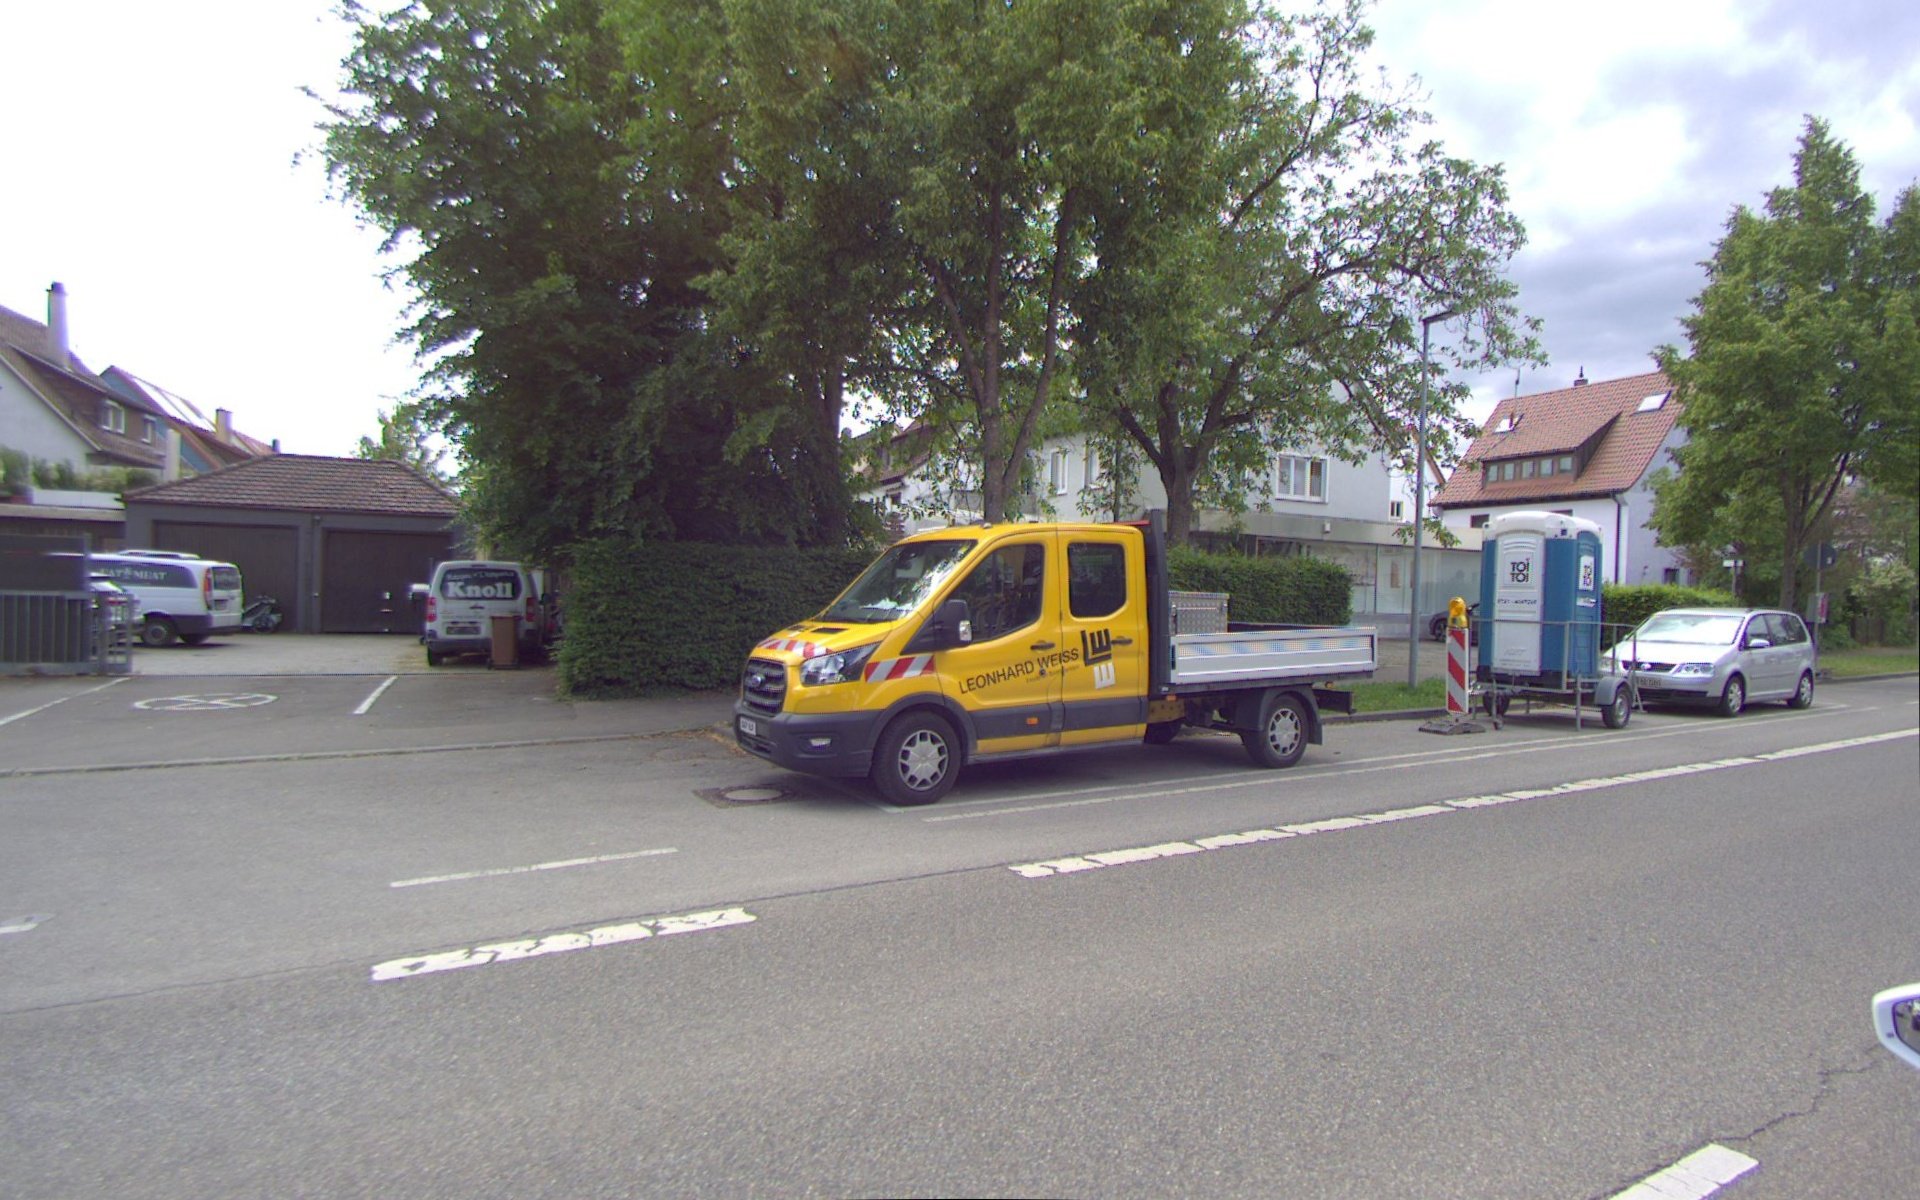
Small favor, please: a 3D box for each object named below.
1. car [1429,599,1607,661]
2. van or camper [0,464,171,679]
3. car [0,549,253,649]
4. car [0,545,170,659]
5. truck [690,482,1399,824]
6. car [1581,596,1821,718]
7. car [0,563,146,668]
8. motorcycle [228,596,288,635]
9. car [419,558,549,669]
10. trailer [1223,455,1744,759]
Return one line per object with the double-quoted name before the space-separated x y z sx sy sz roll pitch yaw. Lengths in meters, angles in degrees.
"car" 15.445 0.777 28.032 1.776 1.452 4.067 0 2 -24
"van or camper" -15.264 -0.423 14.227 5.848 2.922 2.592 1 0 -21
"car" -18.219 -0.007 21.780 4.256 2.040 1.994 1 0 -15
"car" -17.597 0.025 18.772 3.934 2.040 1.993 1 0 -16
"truck" 0.970 0.398 9.343 6.383 2.317 2.285 1 0 -29
"car" 11.945 0.859 16.125 4.179 1.706 1.679 2 0 -32
"car" -16.406 0.235 16.774 3.934 1.684 1.841 1 0 -16
"motorcycle" -18.067 0.389 25.880 1.130 0.979 0.633 1 0 -21
"car" -8.722 0.230 18.699 1.893 1.818 3.979 1 0 -22
"trailer" 6.747 0.111 12.632 6.923 3.002 2.362 1 0 -29
